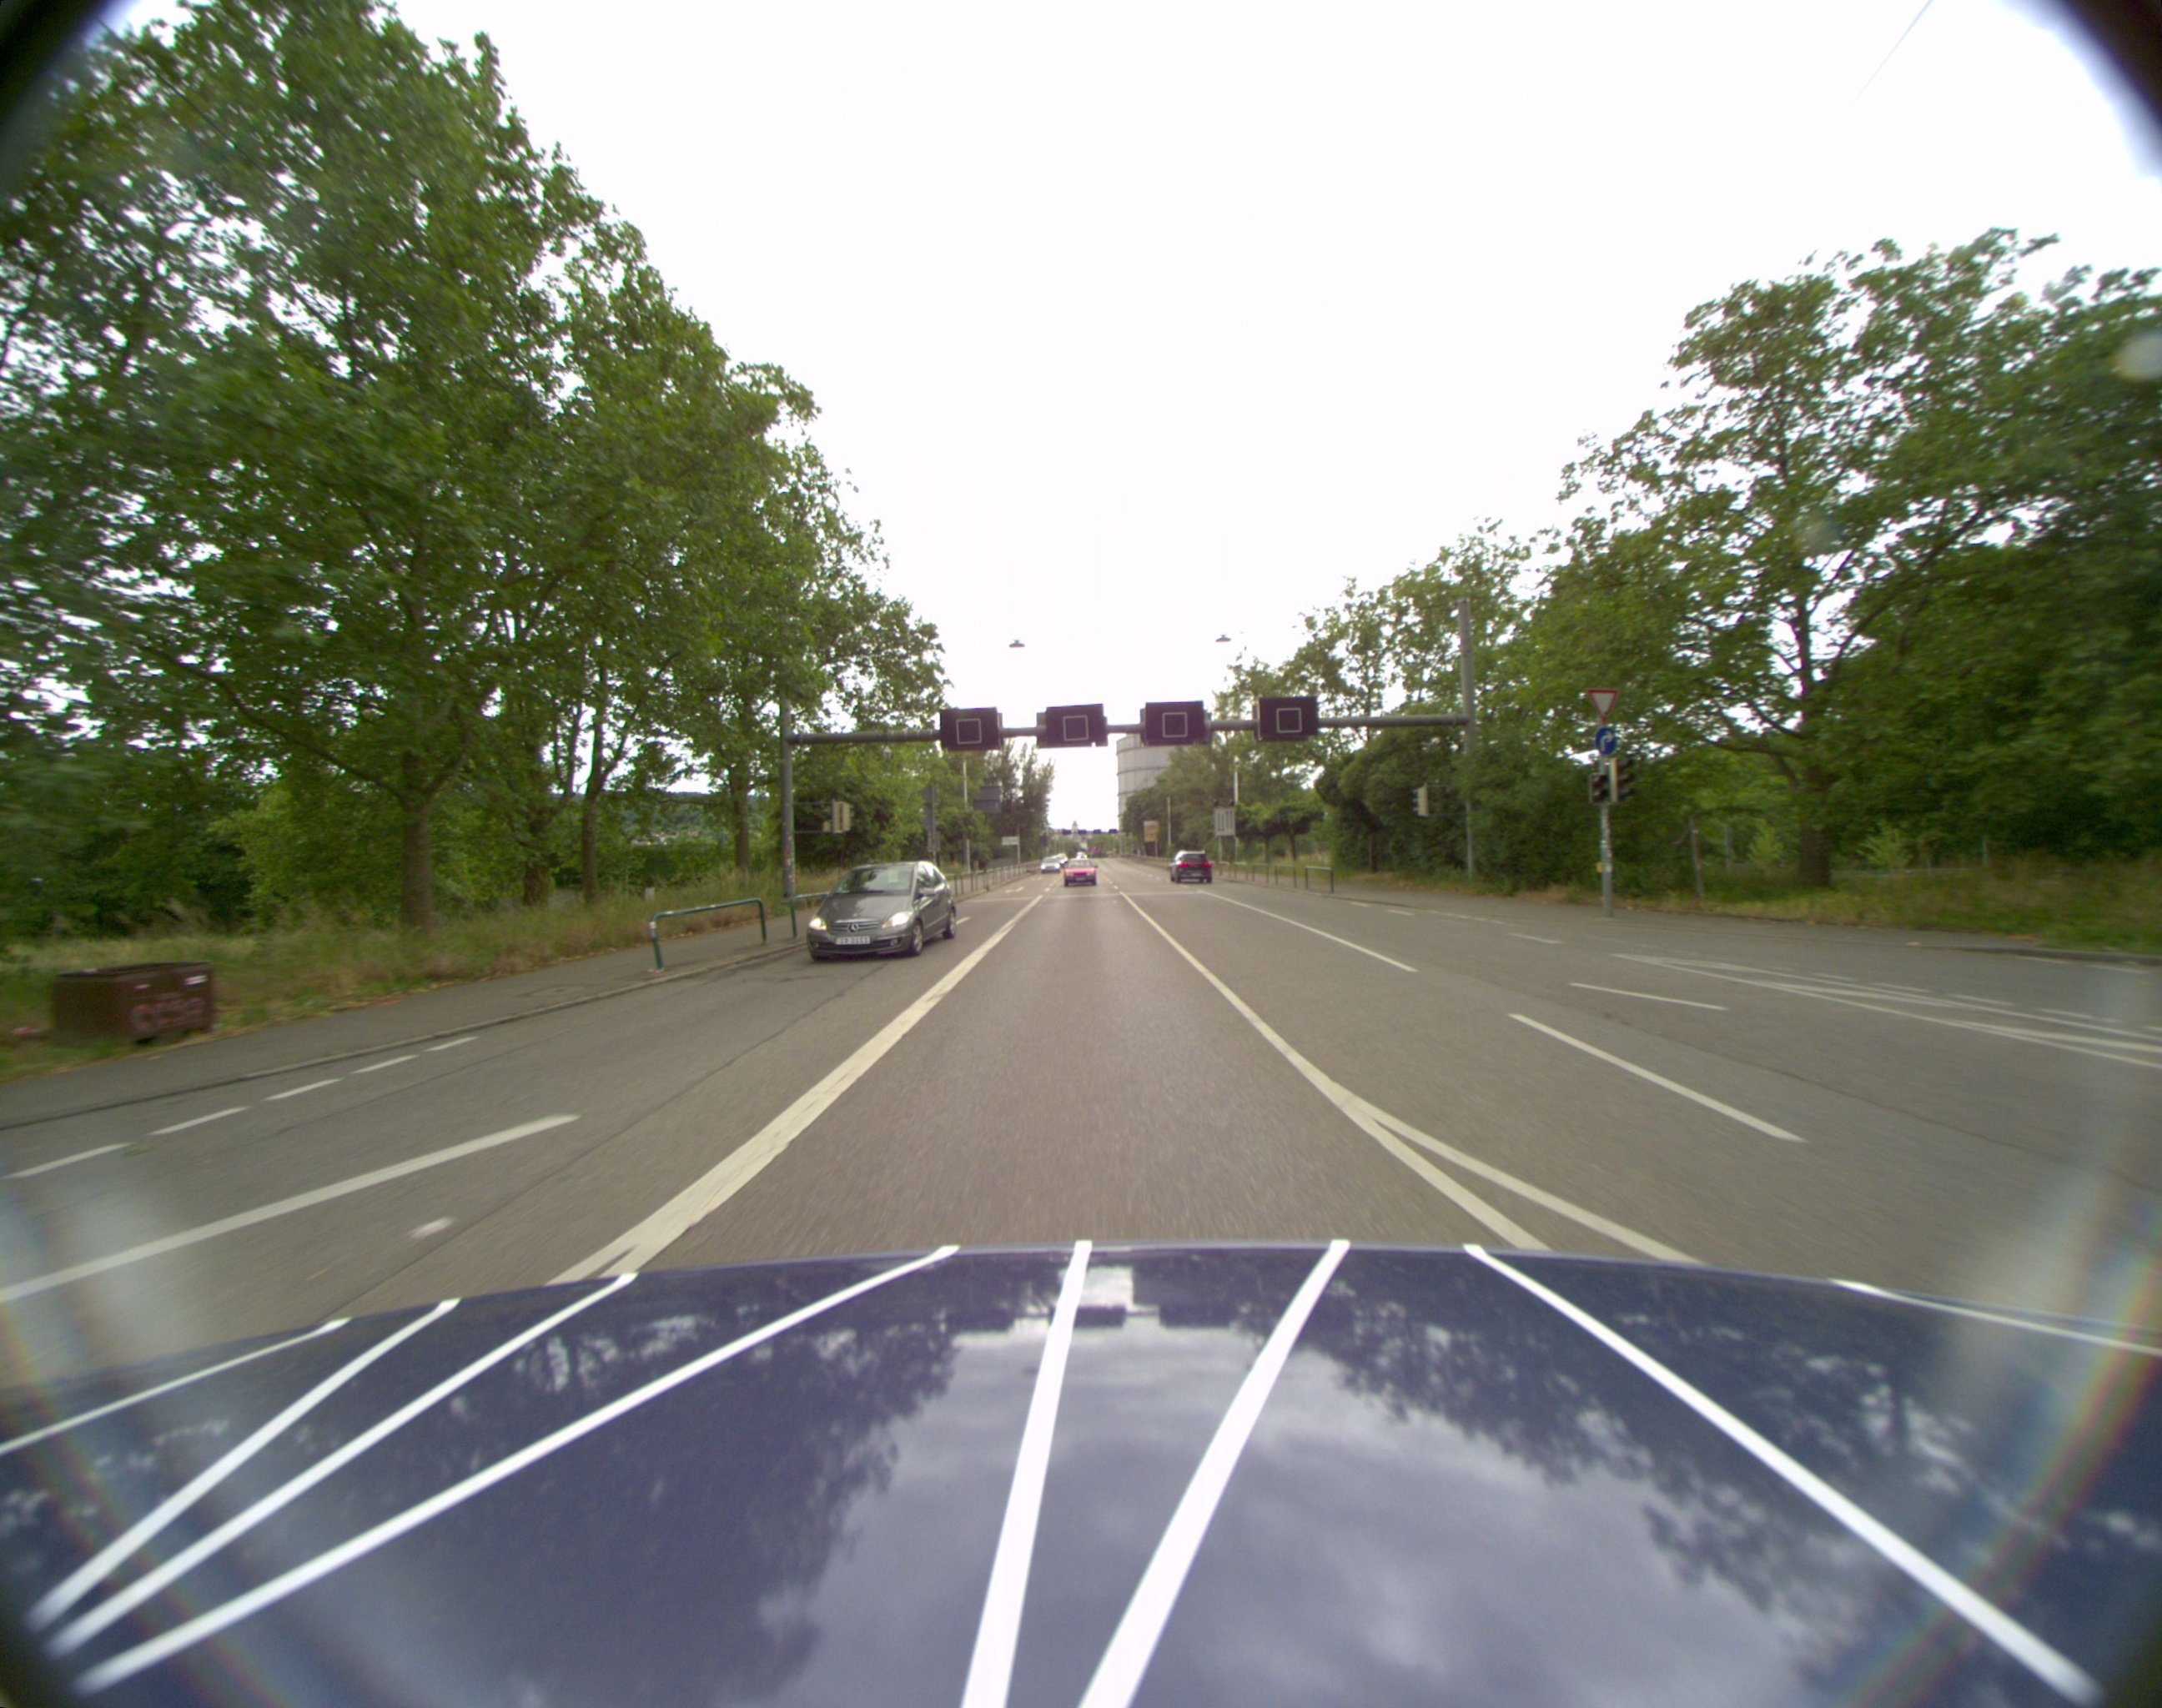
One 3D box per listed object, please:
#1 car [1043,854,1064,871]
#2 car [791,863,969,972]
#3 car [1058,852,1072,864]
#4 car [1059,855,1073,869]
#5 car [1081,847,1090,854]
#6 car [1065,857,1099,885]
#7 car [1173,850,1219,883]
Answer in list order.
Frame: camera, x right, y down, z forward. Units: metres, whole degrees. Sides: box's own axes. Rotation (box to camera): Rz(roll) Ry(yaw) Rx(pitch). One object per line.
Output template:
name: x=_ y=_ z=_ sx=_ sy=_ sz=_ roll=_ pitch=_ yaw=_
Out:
car: x=-2.641 y=0.804 z=73.827 sx=1.771 sy=1.565 sz=4.000 roll=-1 pitch=0 yaw=1
car: x=-3.407 y=1.009 z=13.753 sx=1.830 sy=1.606 sz=4.036 roll=-2 pitch=-1 yaw=4
car: x=-2.491 y=0.682 z=119.569 sx=1.998 sy=1.775 sz=4.001 roll=-2 pitch=0 yaw=2
car: x=-1.933 y=1.039 z=100.353 sx=1.776 sy=1.696 sz=3.999 roll=-3 pitch=0 yaw=-1
car: x=1.136 y=-0.866 z=189.759 sx=1.998 sy=1.792 sz=4.001 roll=-3 pitch=0 yaw=3
car: x=0.056 y=0.866 z=40.331 sx=1.696 sy=1.434 sz=4.000 roll=0 pitch=0 yaw=0
car: x=6.056 y=0.633 z=40.384 sx=1.998 sy=1.650 sz=4.518 roll=0 pitch=0 yaw=3
